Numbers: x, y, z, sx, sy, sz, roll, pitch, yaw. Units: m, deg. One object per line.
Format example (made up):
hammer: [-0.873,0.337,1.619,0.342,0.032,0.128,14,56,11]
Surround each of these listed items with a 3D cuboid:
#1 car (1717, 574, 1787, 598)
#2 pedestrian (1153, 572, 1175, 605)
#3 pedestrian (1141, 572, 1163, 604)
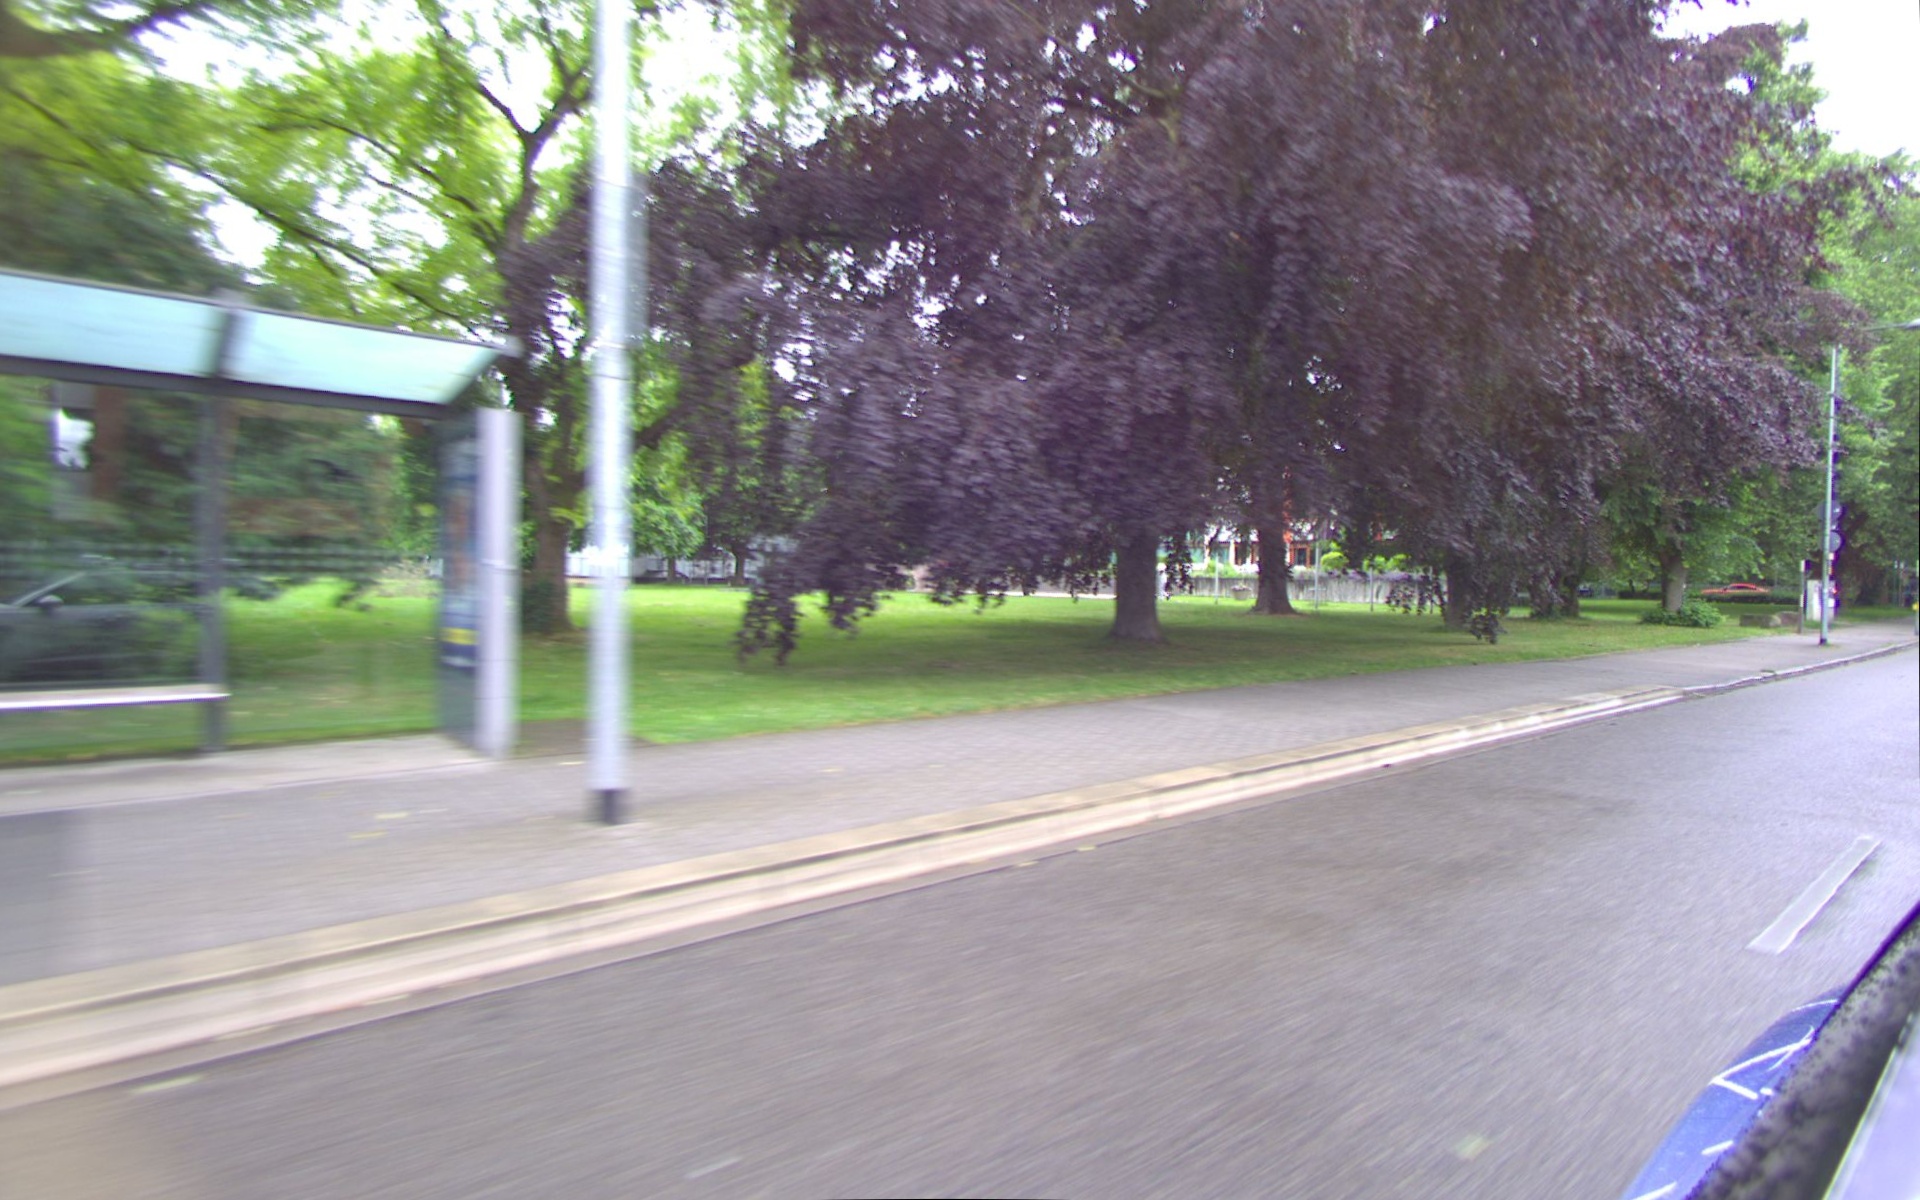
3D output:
car: [61.704,-1.083,78.887,1.966,1.737,3.992,0,2,-43]
pedestrian: [11.405,-0.654,56.460,0.838,1.785,0.865,-2,-1,44]
pedestrian: [10.590,-0.658,55.807,0.838,1.785,0.760,-2,-1,44]
